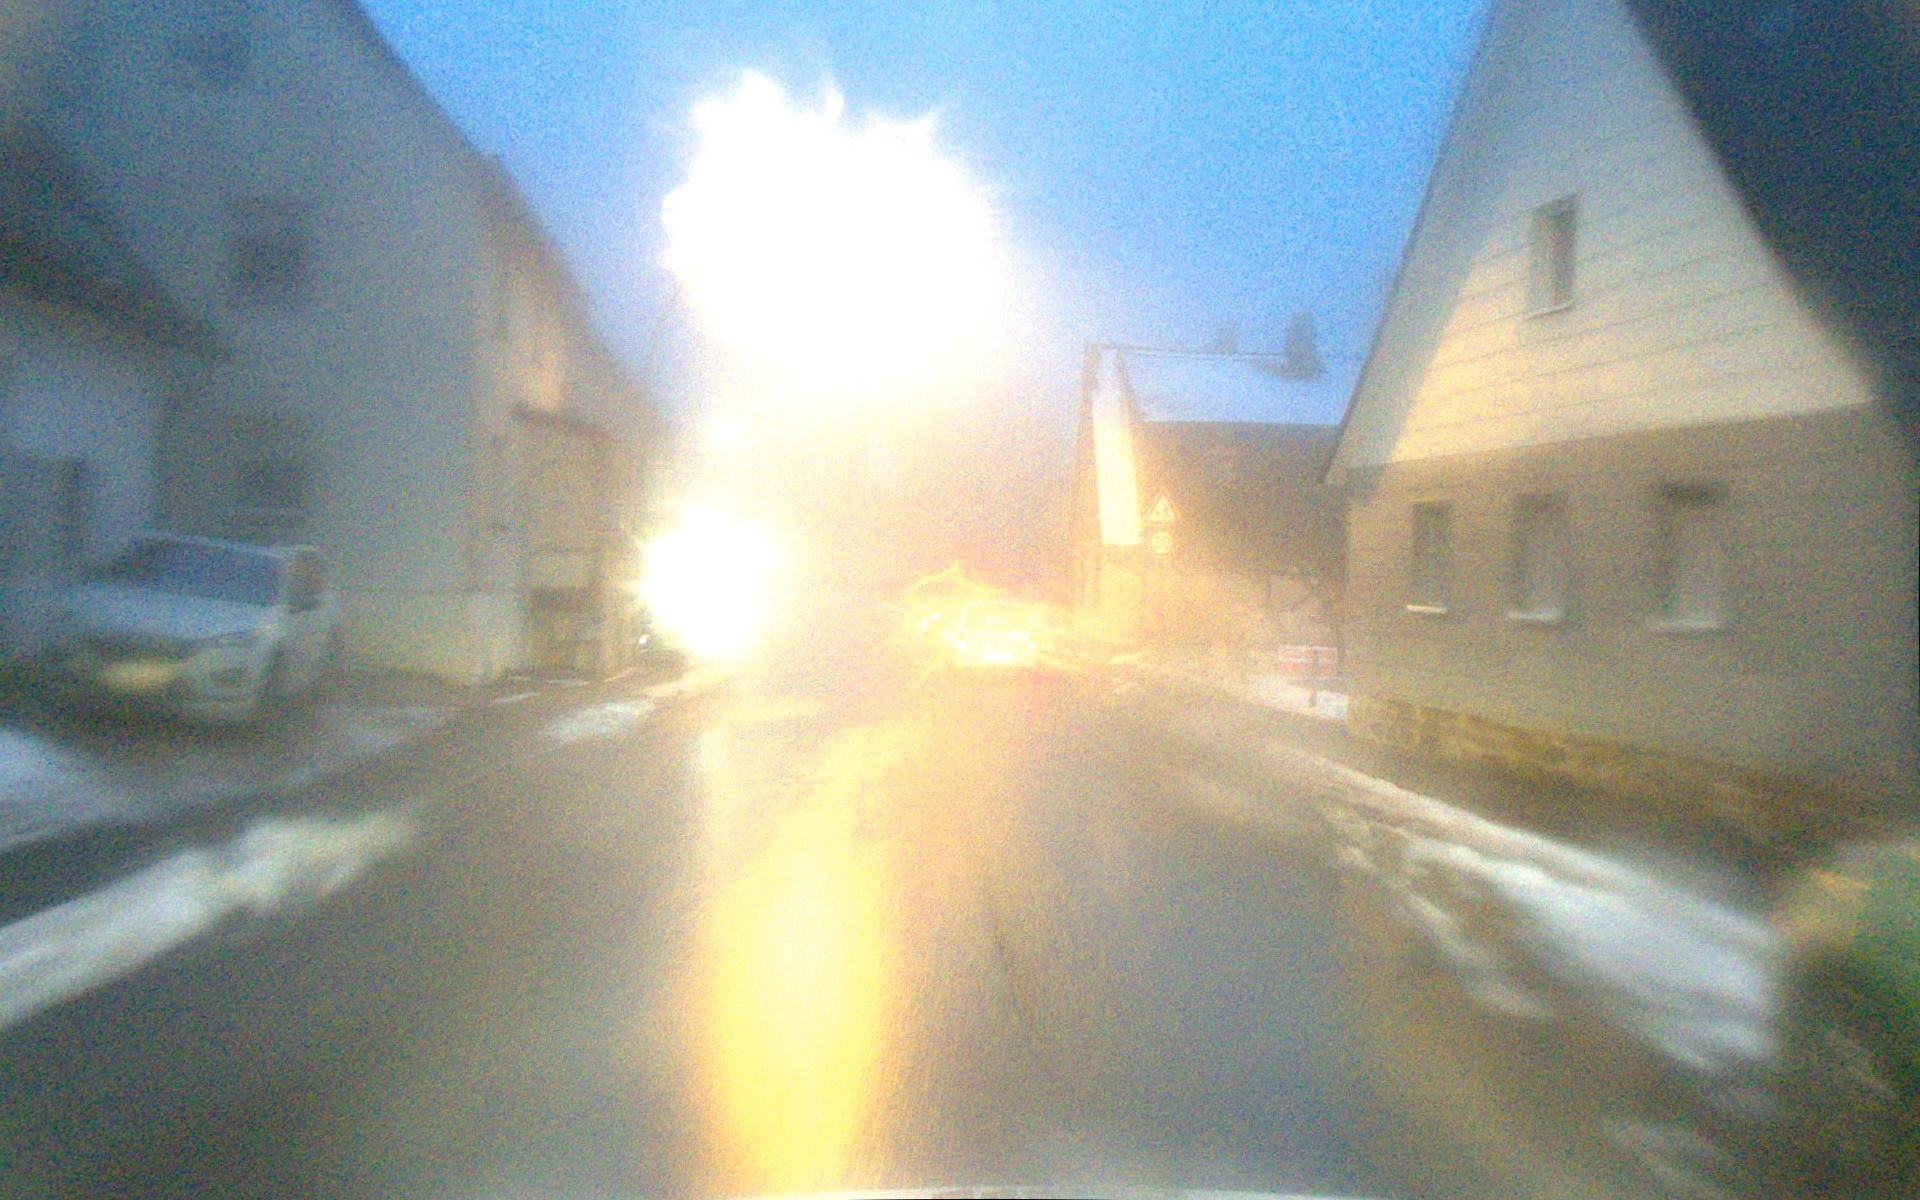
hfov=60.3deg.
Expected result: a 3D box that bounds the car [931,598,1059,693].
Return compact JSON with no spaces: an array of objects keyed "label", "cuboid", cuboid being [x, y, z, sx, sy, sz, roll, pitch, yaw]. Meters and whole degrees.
[{"label":"car","cuboid":[0.578,0.826,30.683,1.954,1.534,3.996,3,-2,-4]}]

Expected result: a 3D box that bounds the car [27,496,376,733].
[{"label":"car","cuboid":[-6.956,0.104,15.730,1.733,1.766,4.629,5,0,-10]}]

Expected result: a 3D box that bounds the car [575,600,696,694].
[{"label":"car","cuboid":[-6.396,0.886,32.999,1.955,1.549,4.185,3,1,-6]}]

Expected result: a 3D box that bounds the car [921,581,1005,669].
[{"label":"car","cuboid":[0.042,0.669,42.495,1.953,2.049,3.999,3,-2,-1]}]

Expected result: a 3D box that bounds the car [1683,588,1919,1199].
[{"label":"car","cuboid":[3.097,0.735,2.802,1.871,1.507,4.281,1,0,0]}]
